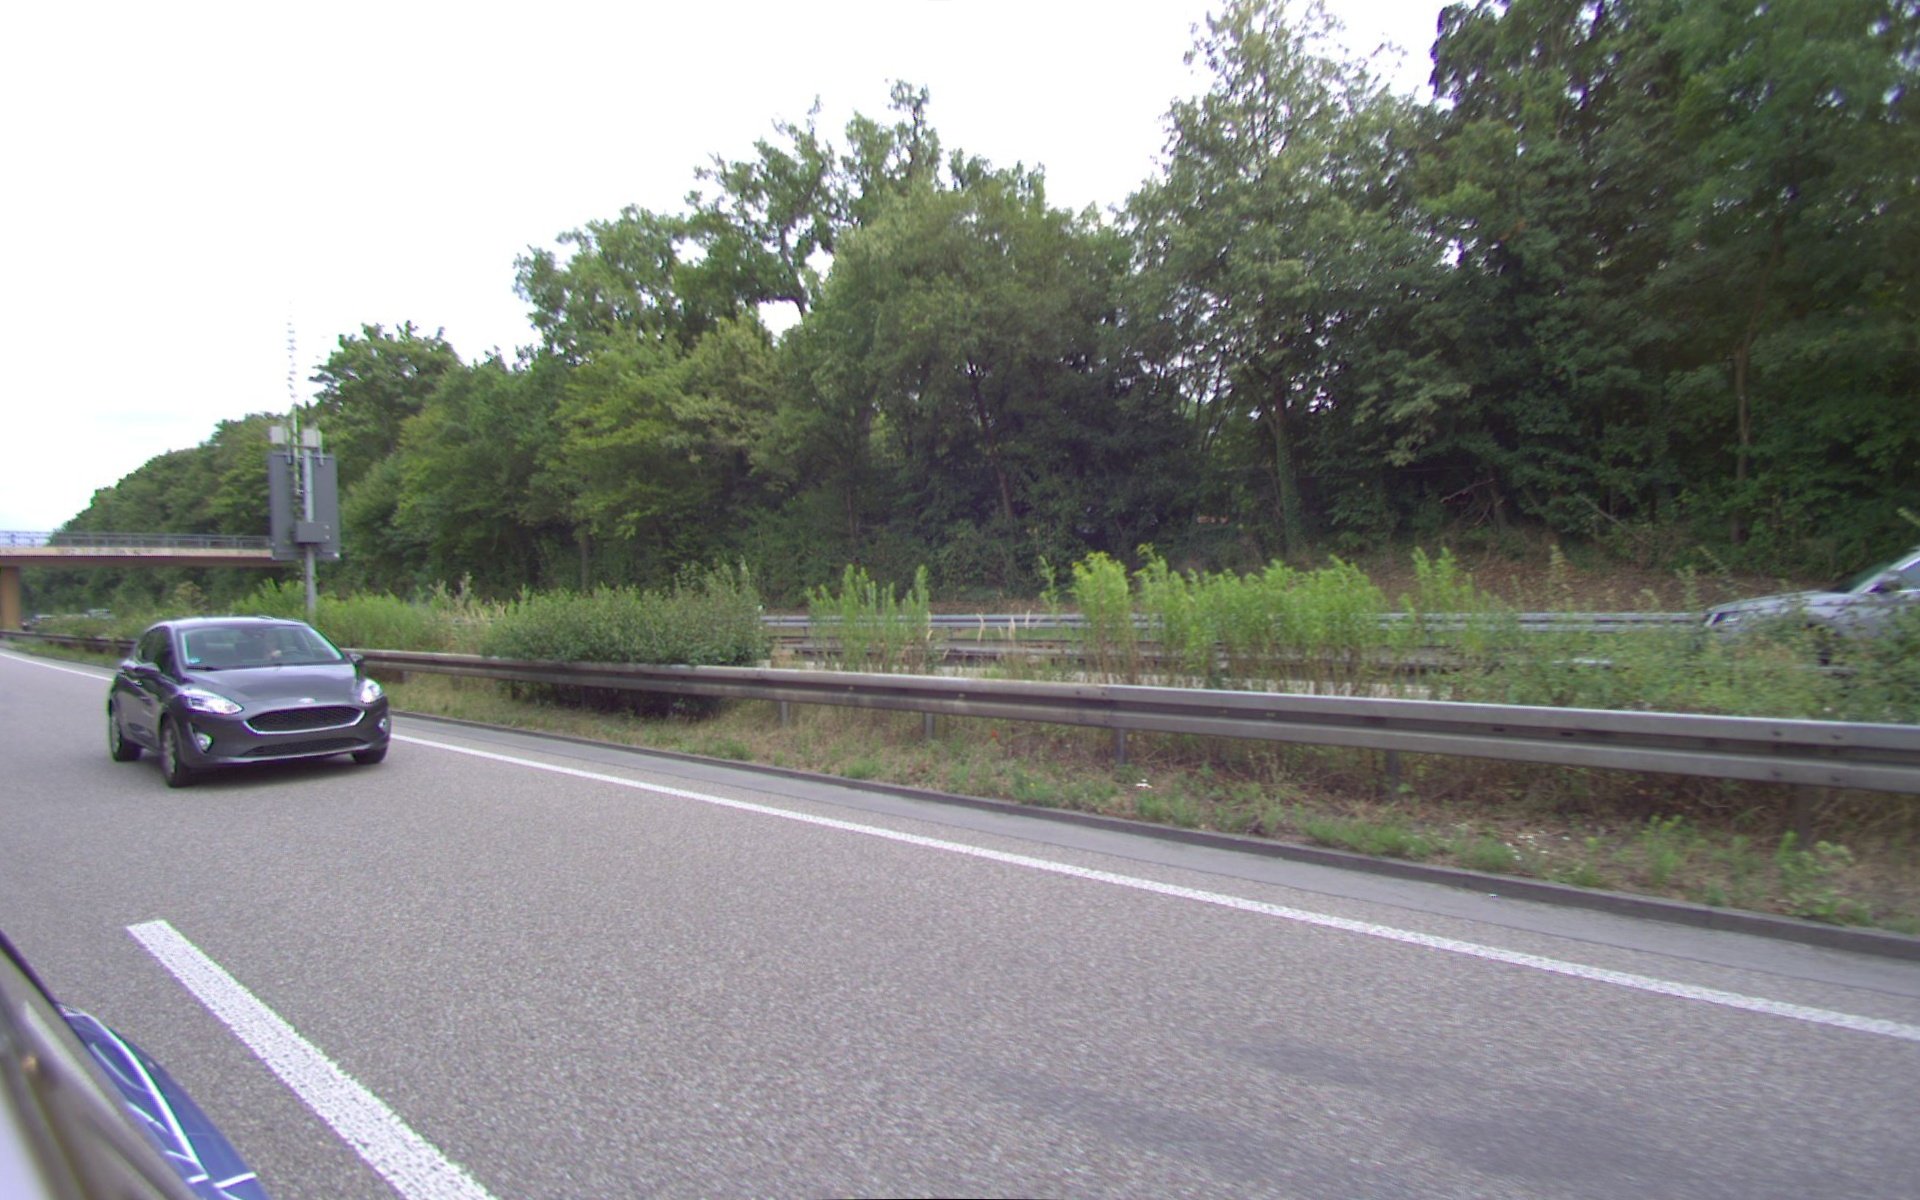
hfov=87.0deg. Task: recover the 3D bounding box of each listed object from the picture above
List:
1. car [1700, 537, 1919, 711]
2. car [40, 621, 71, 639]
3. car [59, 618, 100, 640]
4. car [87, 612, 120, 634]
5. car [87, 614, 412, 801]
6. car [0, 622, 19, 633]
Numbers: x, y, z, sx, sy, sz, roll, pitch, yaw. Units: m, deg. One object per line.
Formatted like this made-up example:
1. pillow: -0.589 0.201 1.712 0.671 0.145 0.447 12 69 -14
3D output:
1. car: 10.336 0.221 9.975 4.771 1.670 1.973 -1 0 41
2. car: -85.797 2.819 96.006 4.181 1.602 1.783 -1 0 42
3. car: -67.269 2.206 77.312 4.000 1.623 1.972 -1 0 43
4. car: -81.453 2.176 96.233 5.301 2.029 1.777 -1 -1 42
5. car: -7.383 0.884 10.304 4.639 1.469 1.806 -1 0 43
6. car: -126.588 3.619 134.754 4.937 1.391 1.670 -1 0 43
